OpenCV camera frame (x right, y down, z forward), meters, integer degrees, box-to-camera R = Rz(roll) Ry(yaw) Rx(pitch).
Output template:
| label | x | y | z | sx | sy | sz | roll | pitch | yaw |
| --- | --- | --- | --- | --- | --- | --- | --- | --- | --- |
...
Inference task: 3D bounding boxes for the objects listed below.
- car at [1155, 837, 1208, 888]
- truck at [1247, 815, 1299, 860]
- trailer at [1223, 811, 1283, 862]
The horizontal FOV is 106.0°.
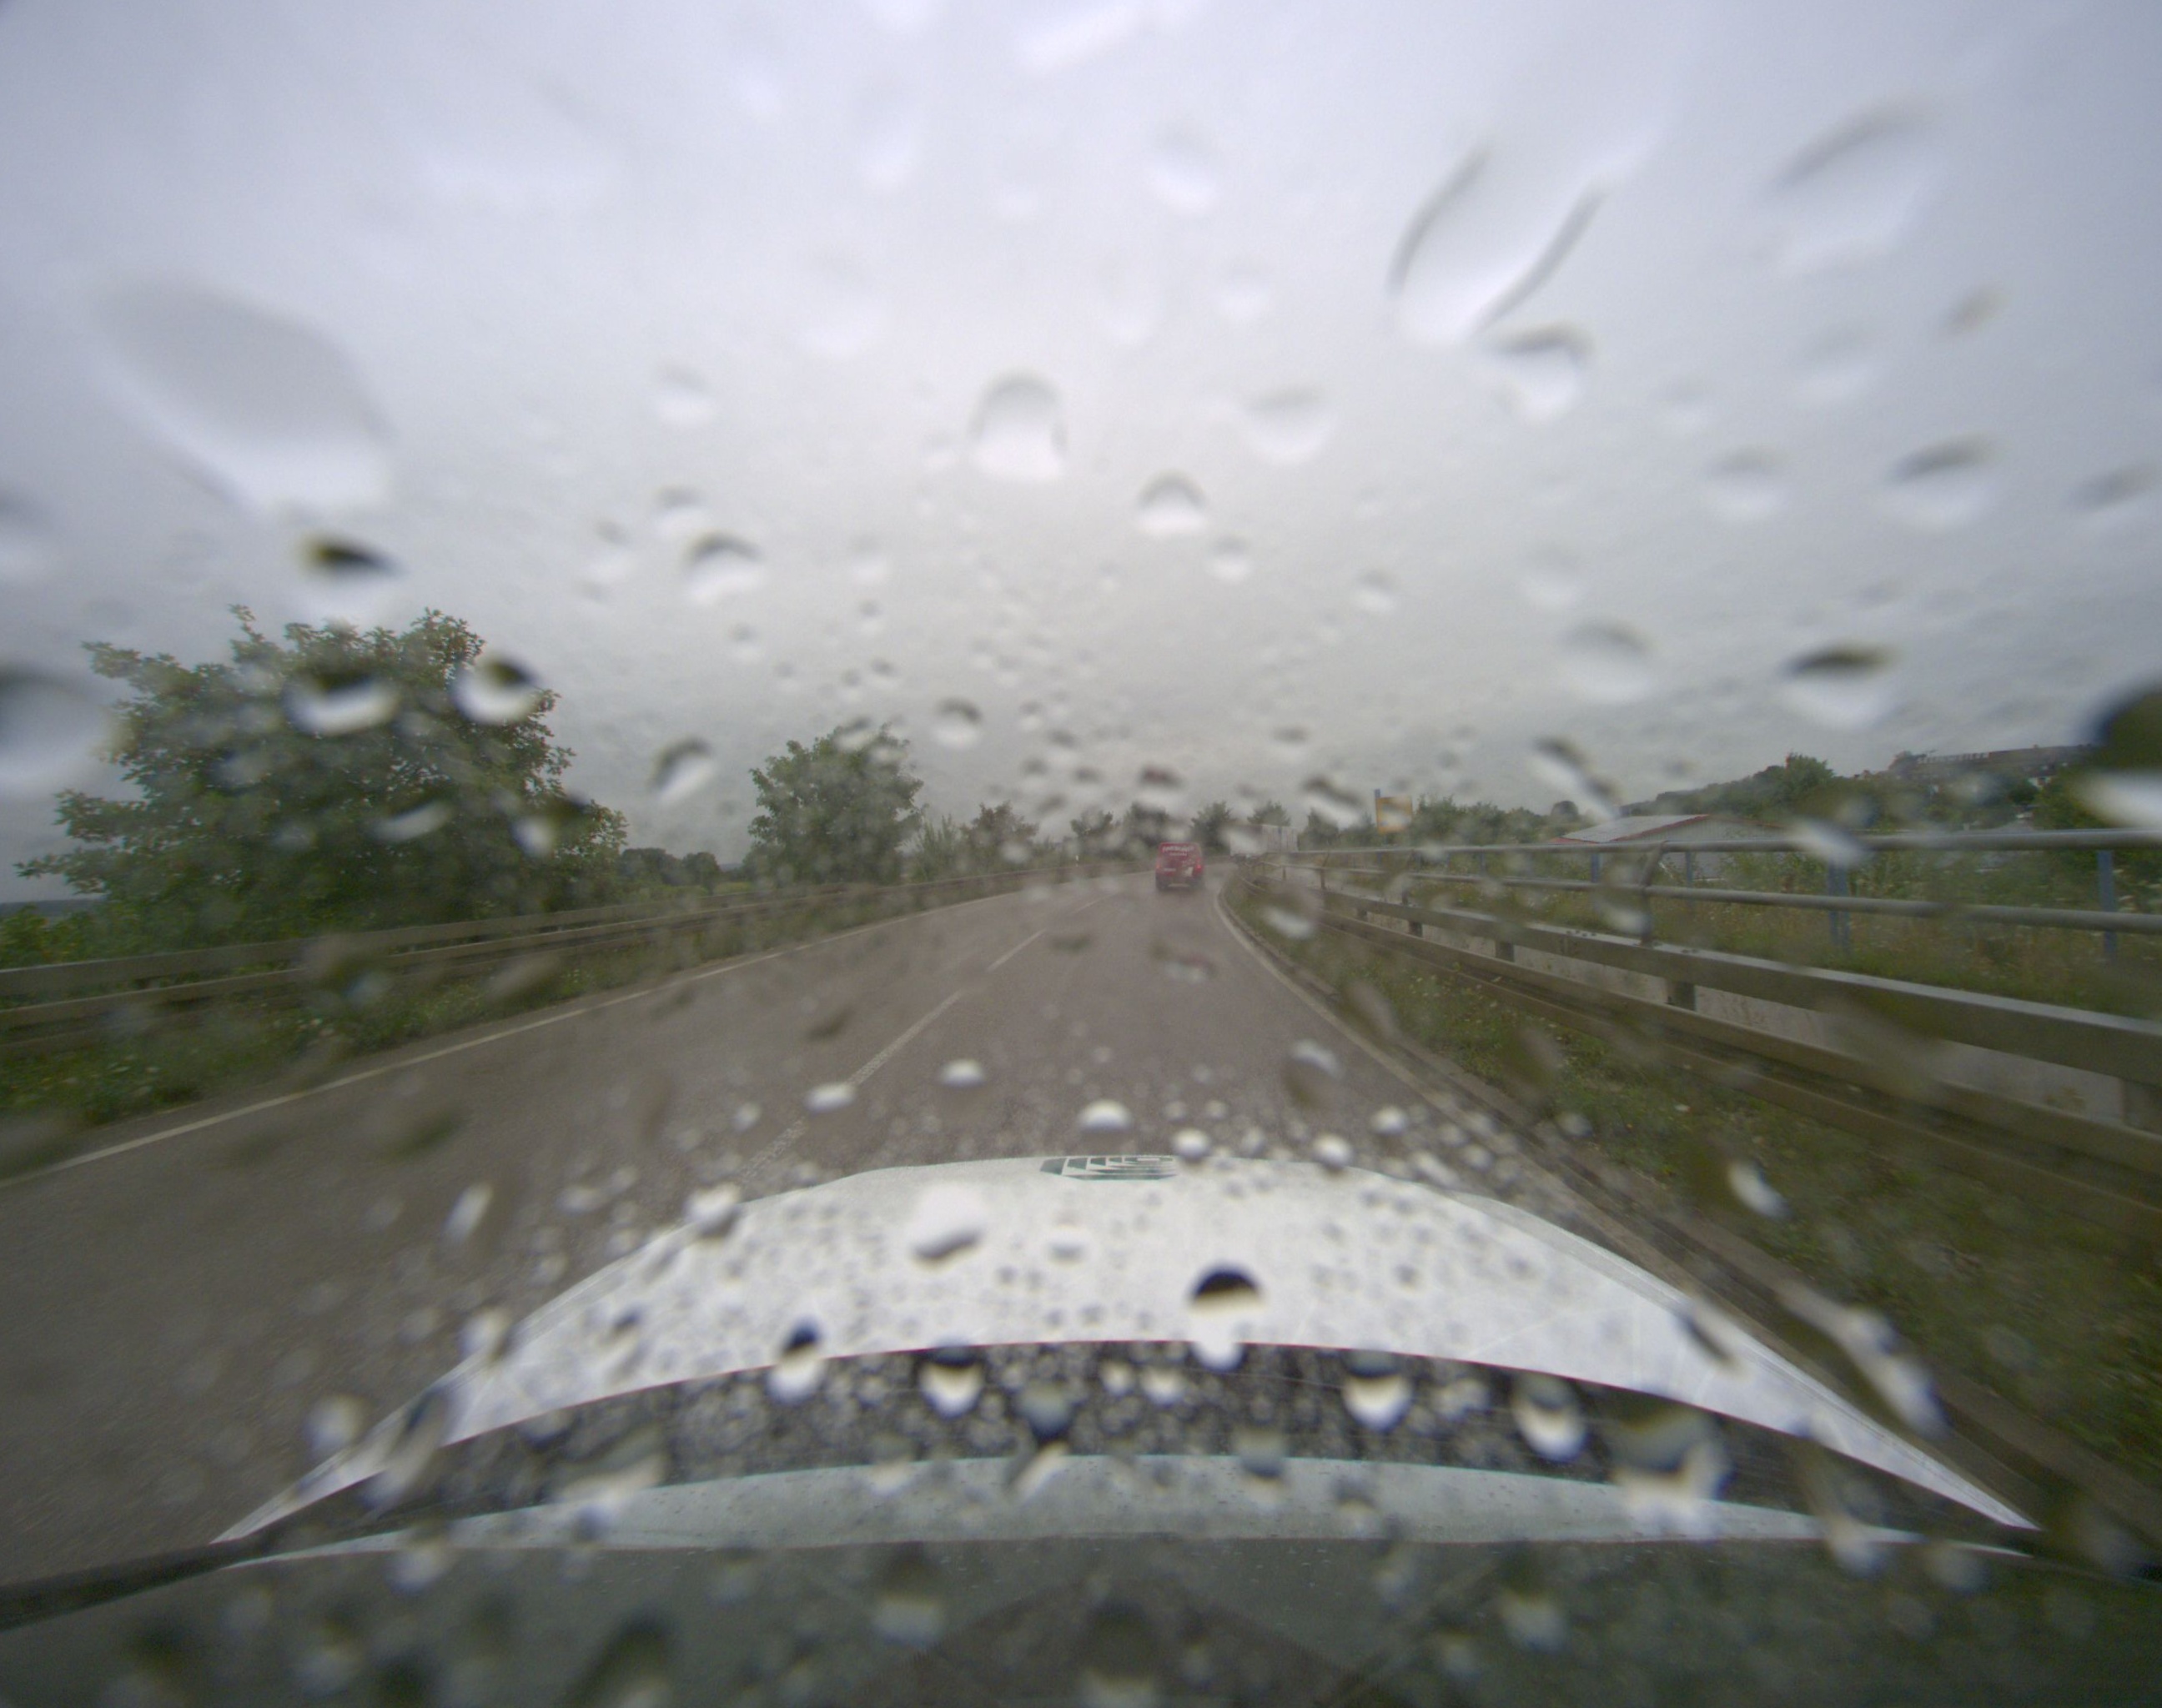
| label | x | y | z | sx | sy | sz | roll | pitch | yaw |
| --- | --- | --- | --- | --- | --- | --- | --- | --- | --- |
| car | 4.212 | 0.299 | 33.648 | 1.982 | 1.925 | 4.154 | -2 | 1 | 9 |
| truck | 17.955 | -1.456 | 75.868 | 3.173 | 3.921 | 8.788 | 0 | 0 | 24 |
| trailer | 14.453 | -1.411 | 67.827 | 3.173 | 3.921 | 8.788 | 0 | 0 | 24 |
